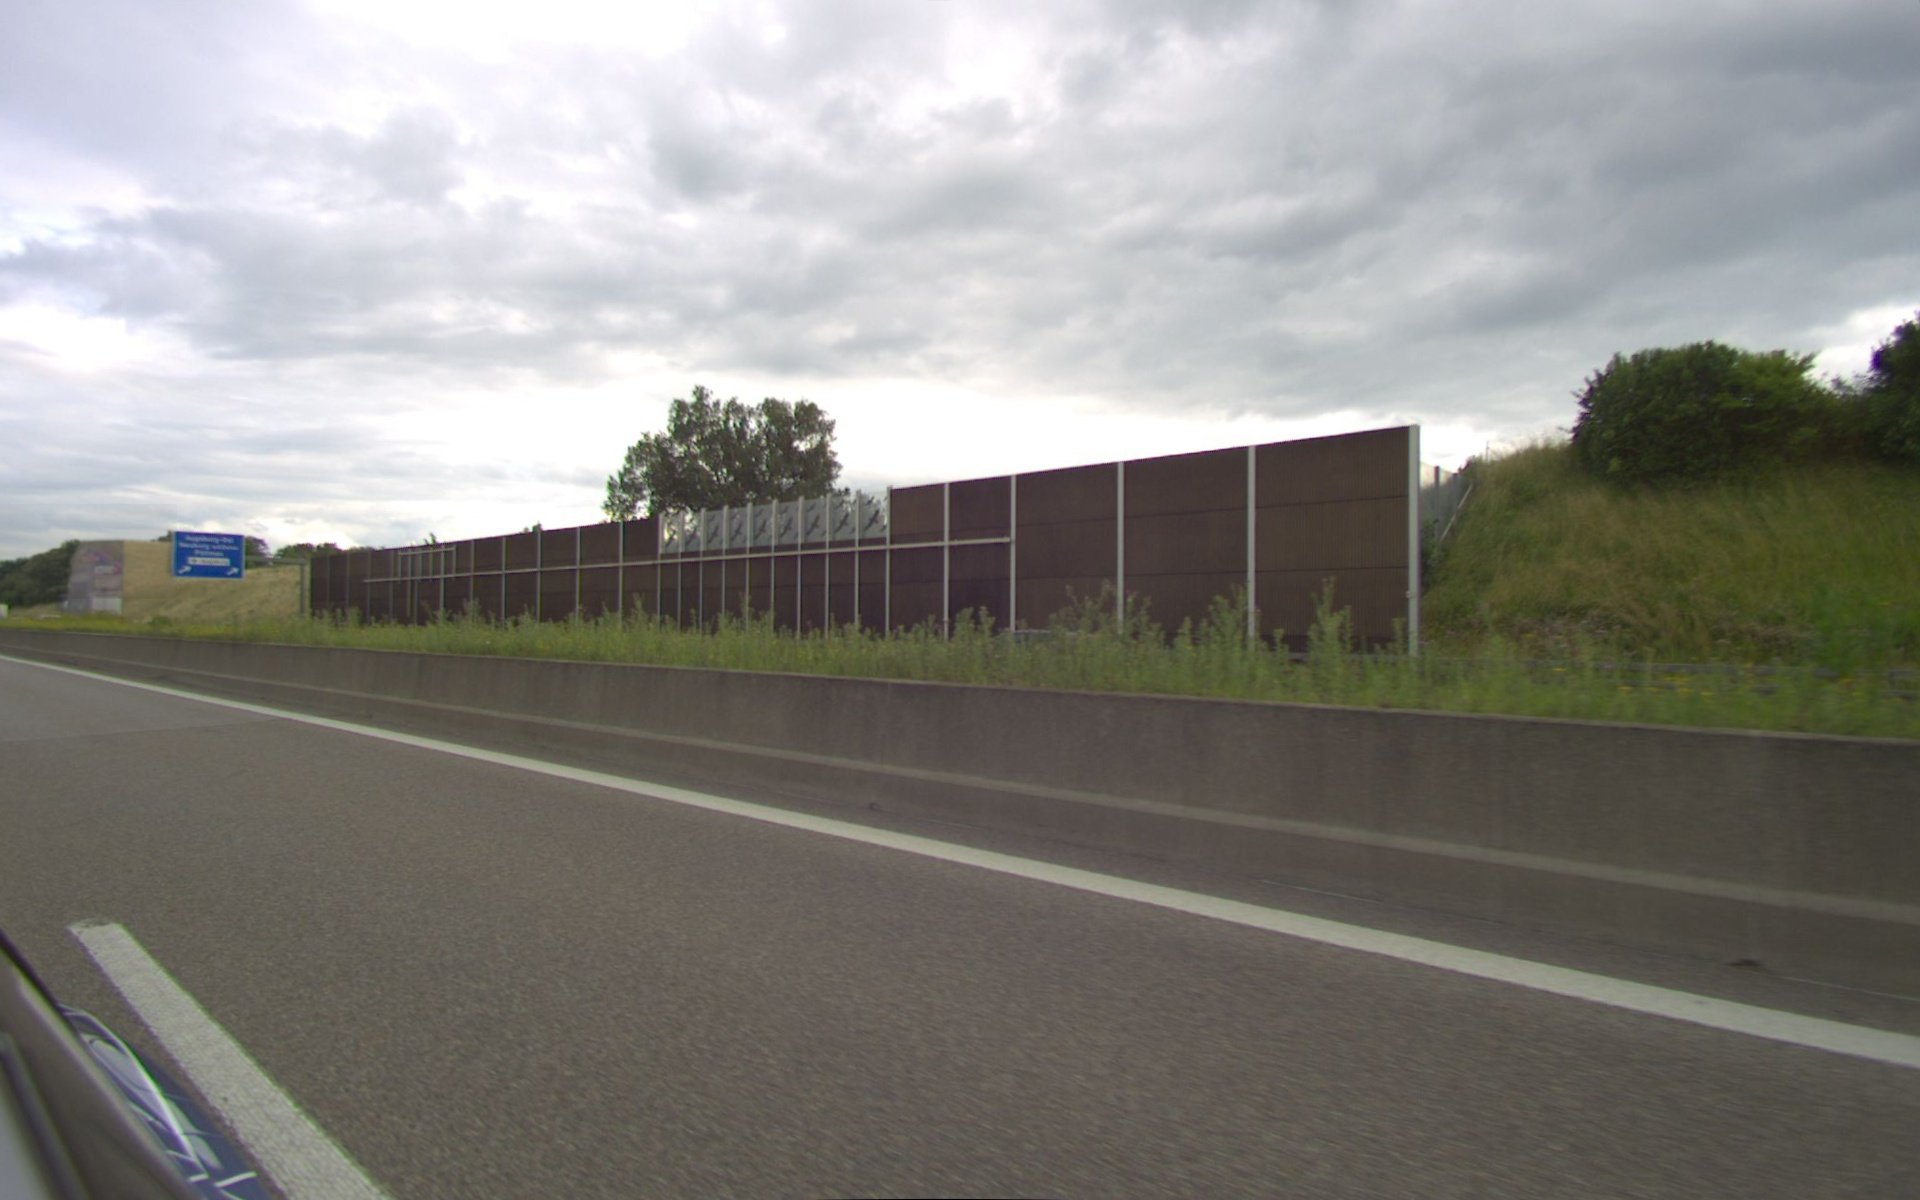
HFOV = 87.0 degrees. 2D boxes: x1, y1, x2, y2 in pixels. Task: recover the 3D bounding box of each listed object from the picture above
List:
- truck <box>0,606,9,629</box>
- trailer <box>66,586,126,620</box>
[{"bbox_3d":[-157.506,2.899,164.340,10.928,3.630,3.225,-1,-2,41],"label":"truck"},{"bbox_3d":[-89.762,0.399,105.066,13.503,3.402,2.790,-1,-1,41],"label":"trailer"}]
